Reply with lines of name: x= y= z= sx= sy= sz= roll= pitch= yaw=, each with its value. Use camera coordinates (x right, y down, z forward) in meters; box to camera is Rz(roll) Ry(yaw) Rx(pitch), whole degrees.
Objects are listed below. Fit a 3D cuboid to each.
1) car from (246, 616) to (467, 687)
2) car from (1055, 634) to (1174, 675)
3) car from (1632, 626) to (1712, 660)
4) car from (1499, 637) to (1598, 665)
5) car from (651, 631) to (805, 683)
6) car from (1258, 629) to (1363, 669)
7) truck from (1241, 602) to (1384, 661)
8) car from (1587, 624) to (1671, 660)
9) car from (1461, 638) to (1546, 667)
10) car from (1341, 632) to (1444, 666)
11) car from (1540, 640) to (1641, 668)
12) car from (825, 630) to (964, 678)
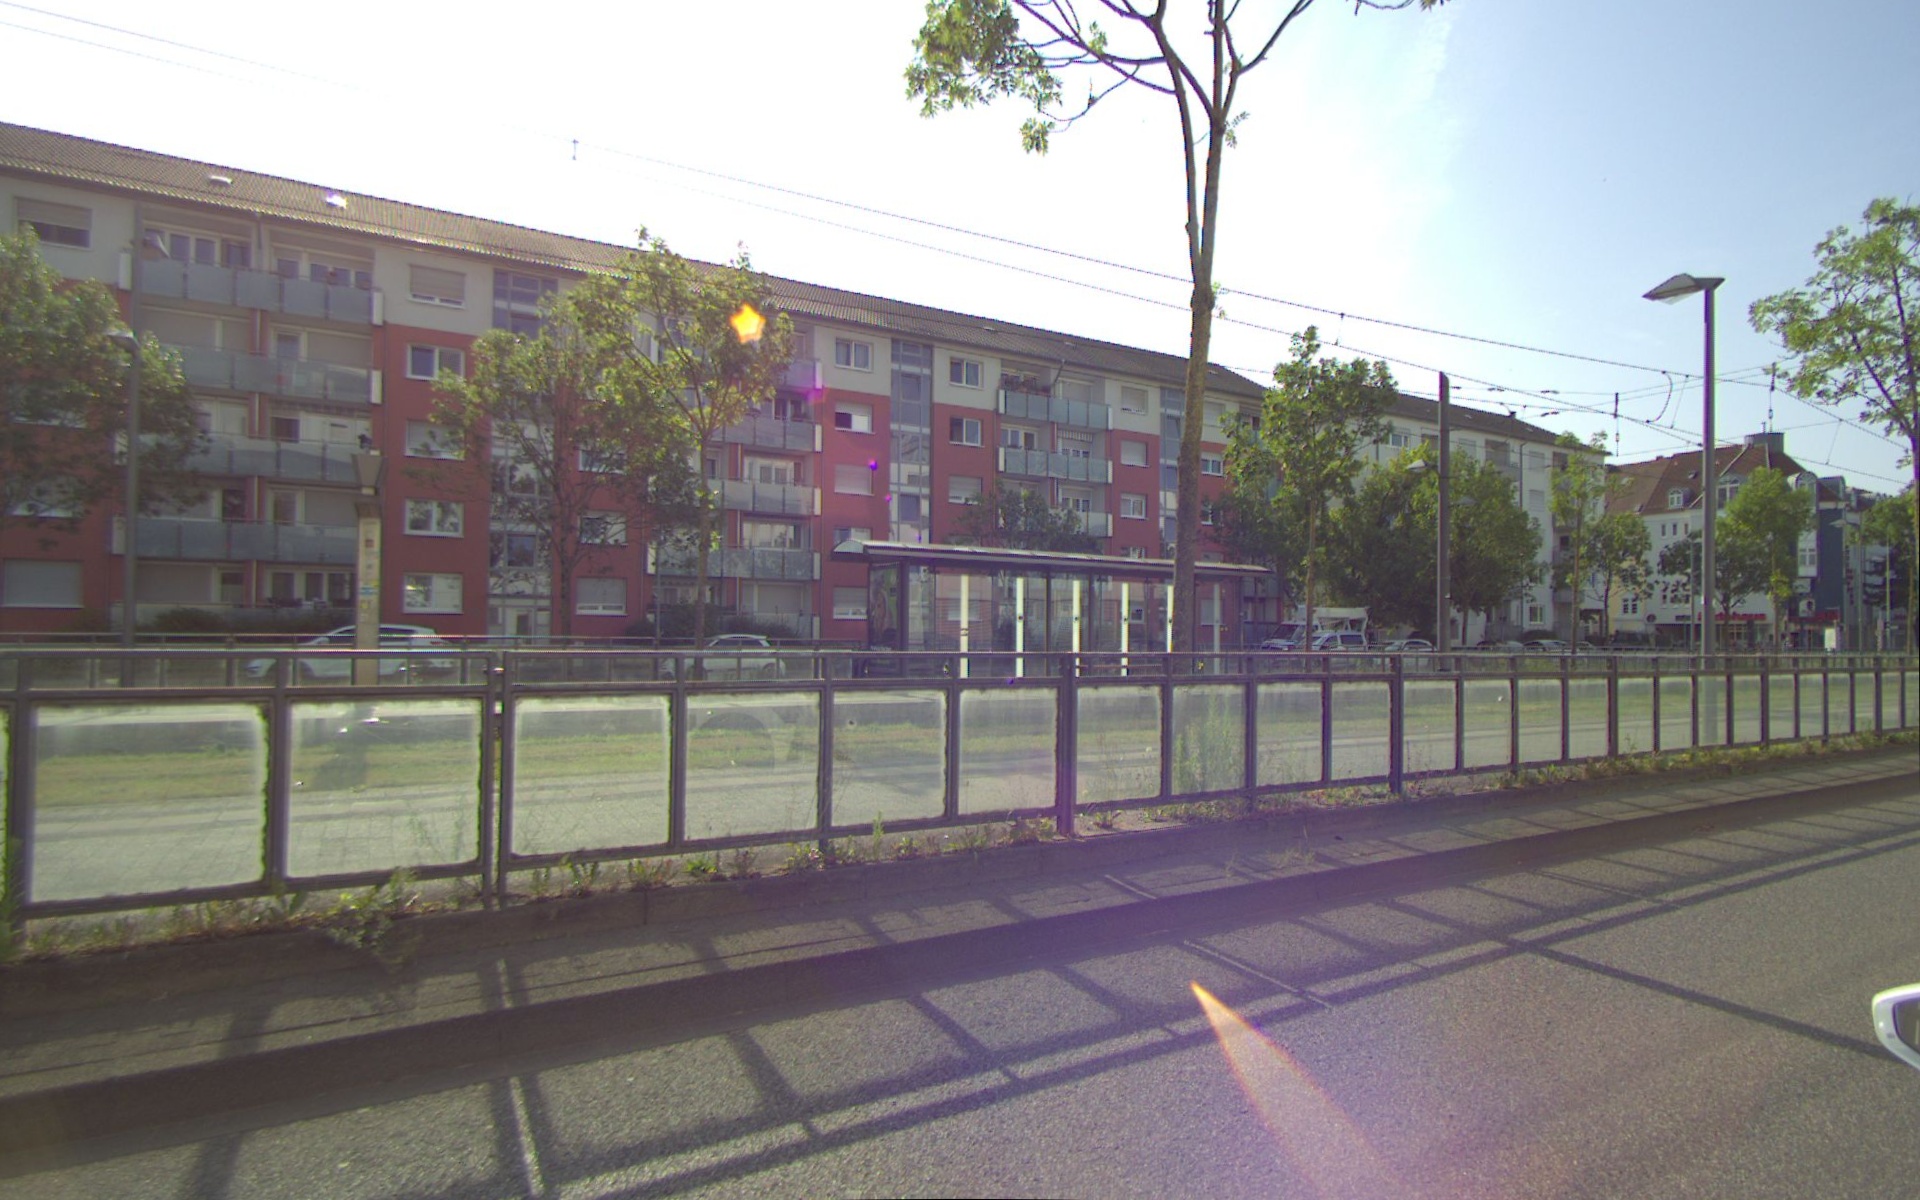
car: x=-14.805 y=1.260 z=24.878 sx=4.486 sy=1.577 sz=1.970 roll=2 pitch=0 yaw=-31
car: x=5.733 y=1.999 z=37.132 sx=4.023 sy=1.378 sz=1.970 roll=2 pitch=0 yaw=-31
car: x=46.619 y=2.805 z=65.740 sx=5.251 sy=2.057 sz=2.353 roll=2 pitch=0 yaw=-31
car: x=28.227 y=2.425 z=48.320 sx=1.907 sy=1.260 sz=3.989 roll=1 pitch=-2 yaw=-14
car: x=-6.845 y=1.655 z=29.740 sx=4.023 sy=1.378 sz=1.970 roll=2 pitch=0 yaw=-31
car: x=14.847 y=2.072 z=42.510 sx=4.232 sy=1.533 sz=1.970 roll=2 pitch=0 yaw=-31
truck: x=16.746 y=1.515 z=47.512 sx=7.159 sy=2.597 sz=2.353 roll=2 pitch=0 yaw=-32
car: x=41.677 y=2.628 z=62.589 sx=5.251 sy=2.057 sz=2.353 roll=2 pitch=0 yaw=-31
car: x=25.230 y=2.413 z=46.762 sx=1.796 sy=1.260 sz=4.001 roll=1 pitch=-2 yaw=0
car: x=19.638 y=2.210 z=45.585 sx=4.631 sy=1.397 sz=1.970 roll=2 pitch=0 yaw=-31
car: x=30.735 y=2.623 z=49.096 sx=1.907 sy=1.260 sz=3.989 roll=1 pitch=-2 yaw=-14
car: x=-2.089 y=1.721 z=32.376 sx=4.023 sy=1.378 sz=1.970 roll=2 pitch=0 yaw=-31
